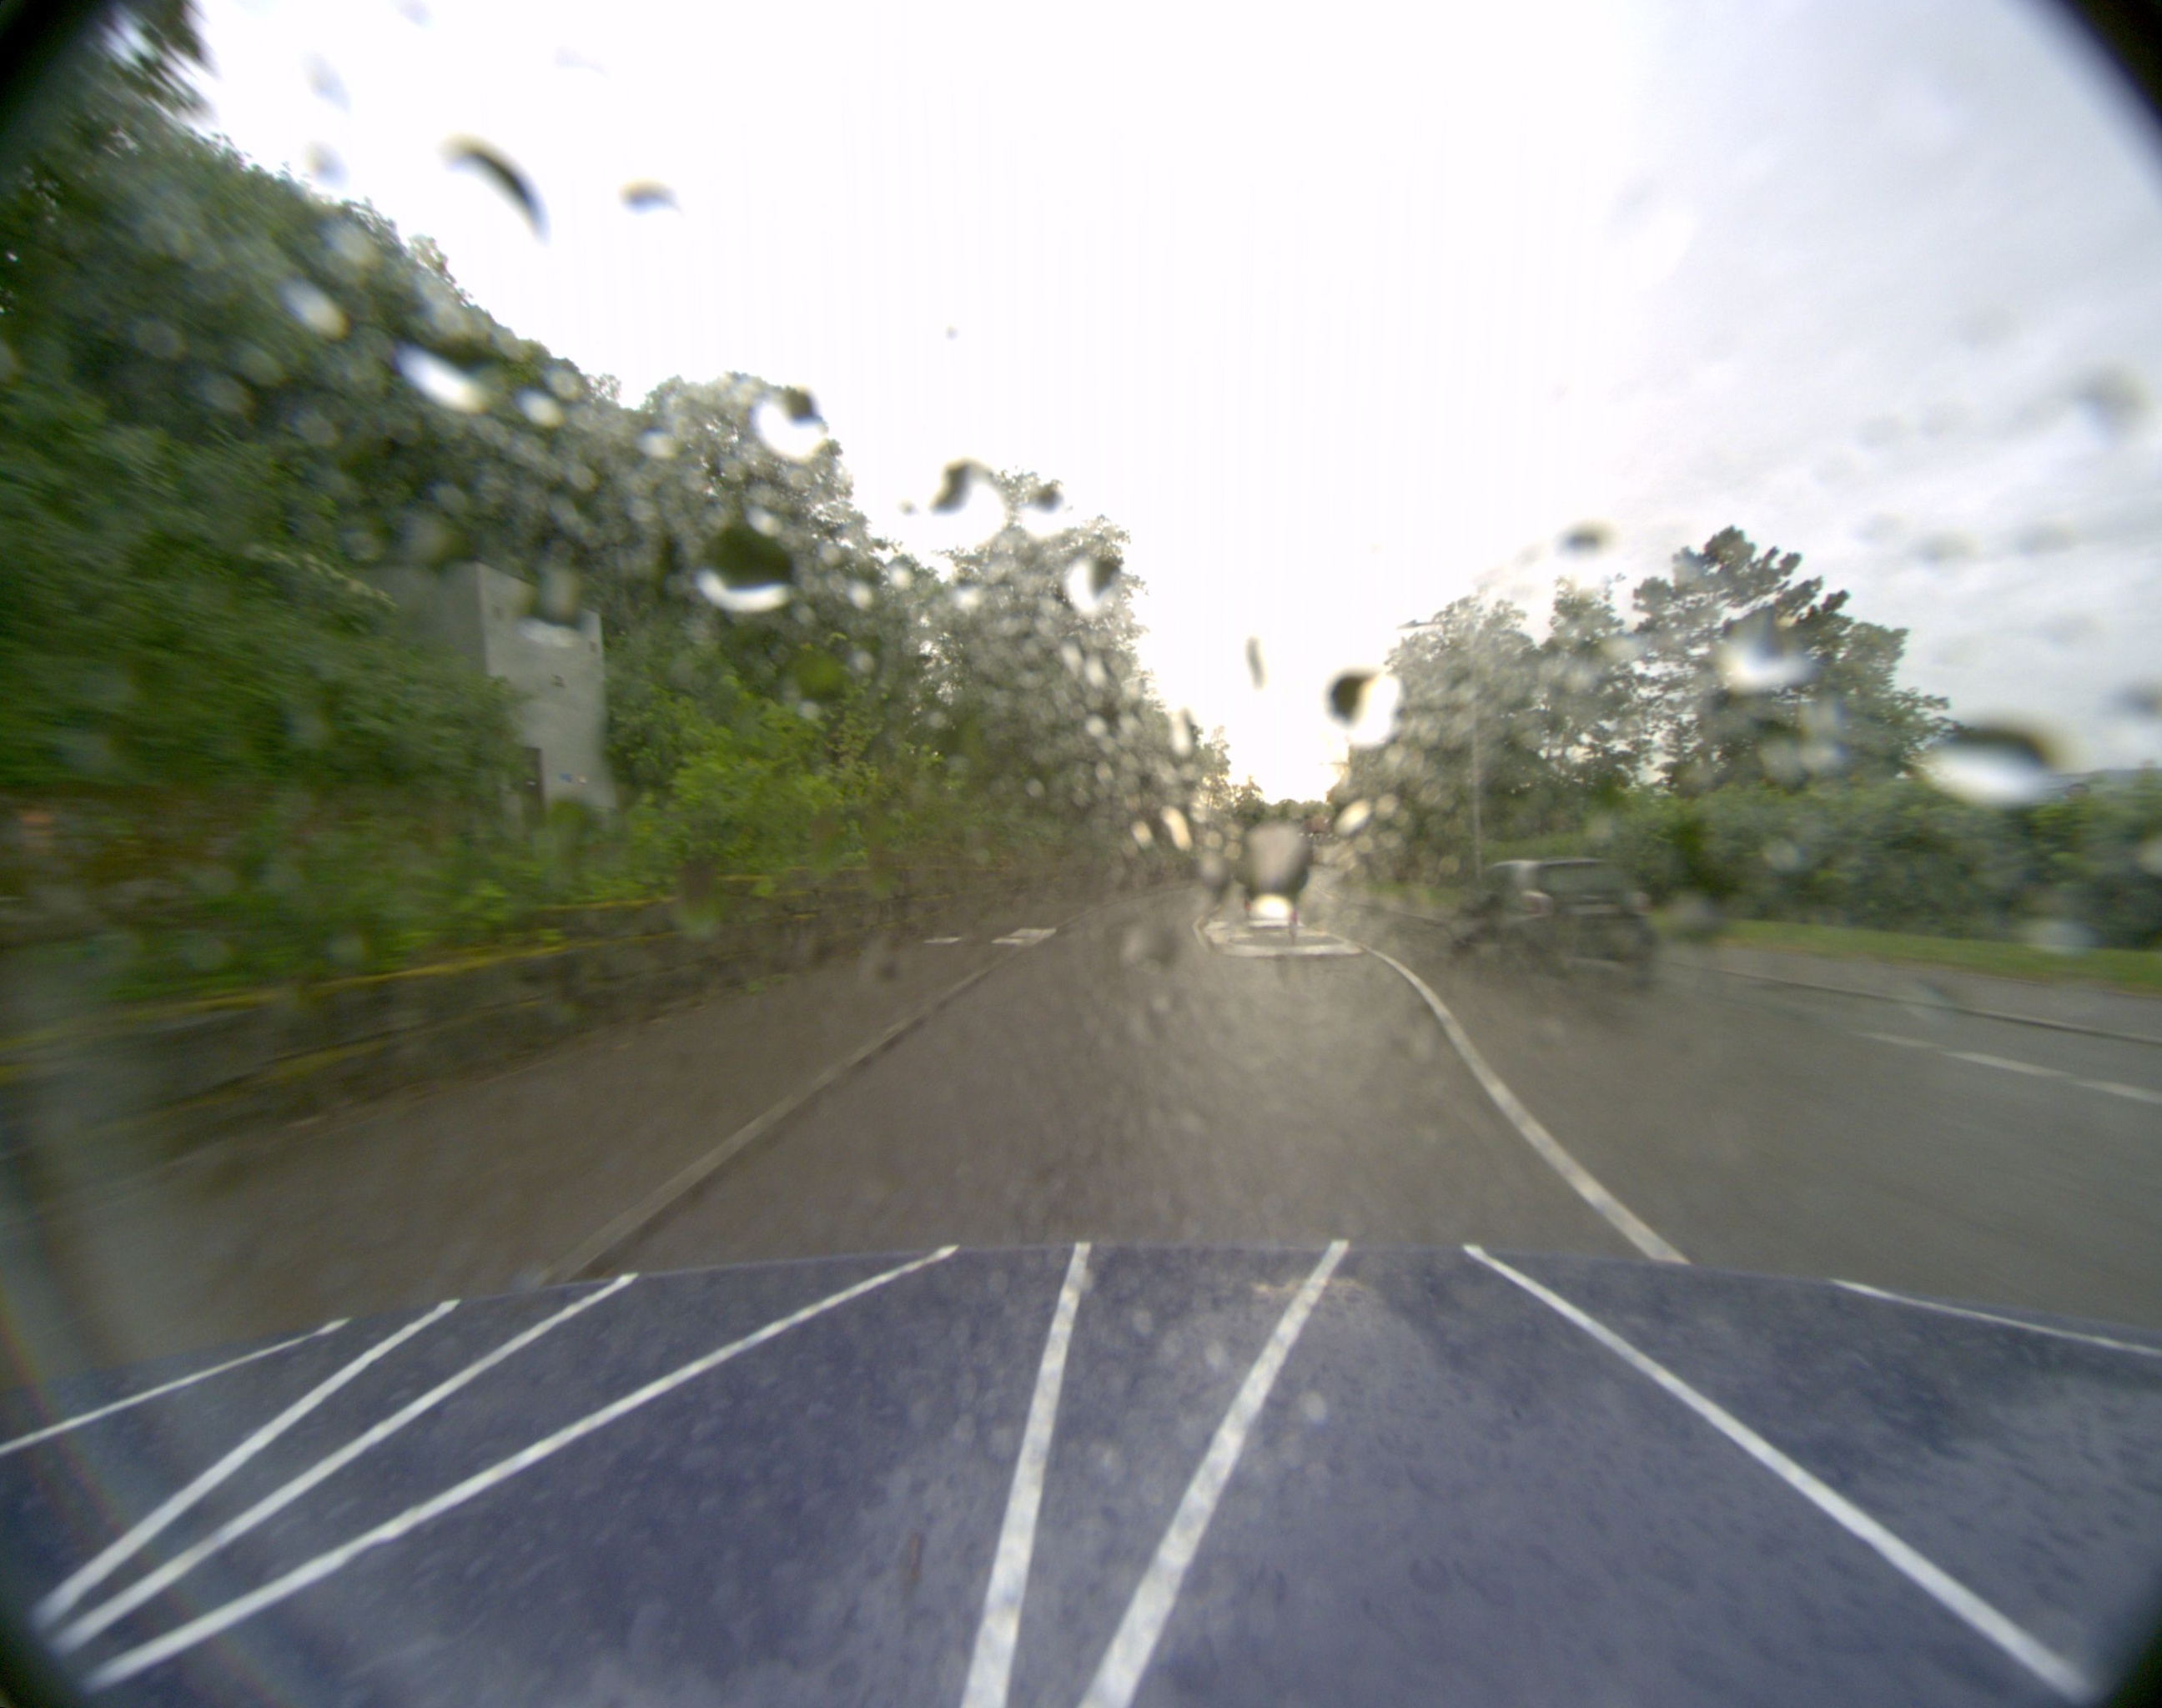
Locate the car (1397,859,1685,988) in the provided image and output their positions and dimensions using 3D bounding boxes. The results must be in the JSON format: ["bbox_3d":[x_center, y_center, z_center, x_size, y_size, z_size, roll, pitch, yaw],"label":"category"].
[{"bbox_3d":[6.605,0.877,11.653,1.836,1.511,4.627,-1,0,3],"label":"car"}]

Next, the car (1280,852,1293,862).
[{"bbox_3d":[32.736,0.458,120.957,1.921,1.638,4.551,-1,0,15],"label":"car"}]

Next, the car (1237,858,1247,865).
[{"bbox_3d":[35.650,1.688,168.234,1.838,1.503,4.171,-2,0,6],"label":"car"}]

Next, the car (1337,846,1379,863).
[{"bbox_3d":[32.743,0.077,89.995,4.508,1.849,2.092,-2,0,17],"label":"car"}]
